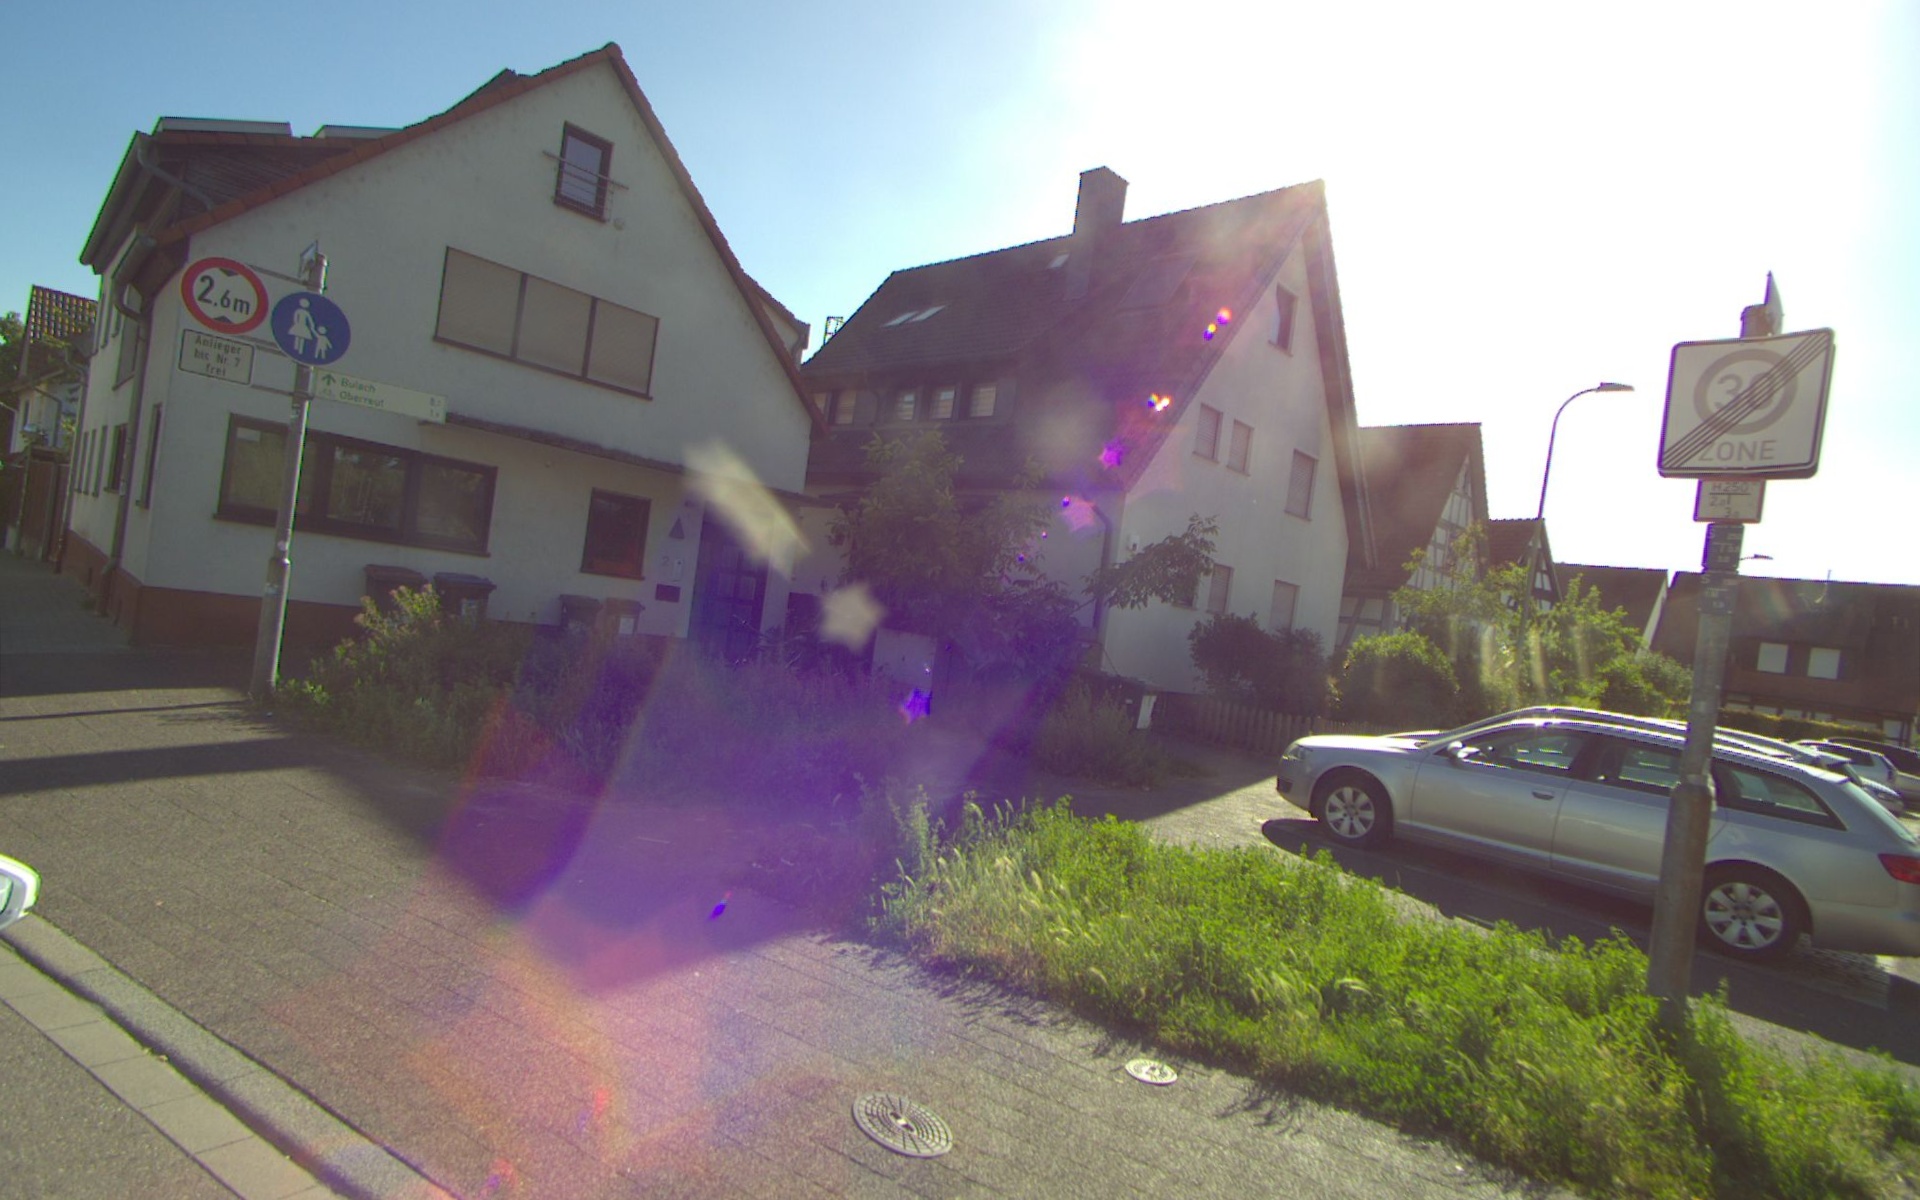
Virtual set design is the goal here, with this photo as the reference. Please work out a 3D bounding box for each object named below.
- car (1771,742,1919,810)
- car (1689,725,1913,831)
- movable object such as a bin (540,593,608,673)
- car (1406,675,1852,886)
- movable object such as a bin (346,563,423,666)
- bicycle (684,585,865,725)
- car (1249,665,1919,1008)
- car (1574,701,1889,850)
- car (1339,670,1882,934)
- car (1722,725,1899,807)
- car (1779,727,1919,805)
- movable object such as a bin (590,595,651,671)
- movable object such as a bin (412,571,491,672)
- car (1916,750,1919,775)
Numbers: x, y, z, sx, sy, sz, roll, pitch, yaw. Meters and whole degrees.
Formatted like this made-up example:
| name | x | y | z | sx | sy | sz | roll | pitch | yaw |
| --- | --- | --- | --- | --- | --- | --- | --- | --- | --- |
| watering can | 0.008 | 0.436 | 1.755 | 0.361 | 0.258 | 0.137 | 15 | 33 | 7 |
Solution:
| name | x | y | z | sx | sy | sz | roll | pitch | yaw |
| --- | --- | --- | --- | --- | --- | --- | --- | --- | --- |
| car | 26.102 | 5.126 | 29.402 | 3.567 | 1.209 | 1.340 | 10 | 0 | 42 |
| car | 18.515 | 3.848 | 22.269 | 3.569 | 1.438 | 1.452 | 10 | 2 | 43 |
| movable object such as a bin | -5.343 | 0.453 | 13.918 | 0.660 | 0.995 | 0.529 | 8 | 0 | 42 |
| car | 8.388 | 2.167 | 12.984 | 1.702 | 1.570 | 4.352 | 9 | 0 | -40 |
| movable object such as a bin | -6.968 | 0.173 | 12.174 | 0.738 | 1.136 | 0.480 | 8 | 0 | 42 |
| bicycle | -1.948 | 0.616 | 10.781 | 0.690 | 1.298 | 1.736 | 7 | -1 | 40 |
| car | 5.230 | 1.731 | 8.687 | 4.734 | 1.438 | 1.992 | 10 | 0 | 42 |
| car | 12.543 | 2.780 | 16.537 | 1.592 | 1.492 | 3.761 | 8 | 1 | -43 |
| car | 6.554 | 1.915 | 10.603 | 1.702 | 1.535 | 4.352 | 9 | 0 | -40 |
| car | 23.832 | 4.613 | 28.292 | 3.569 | 1.470 | 1.453 | 10 | 0 | 43 |
| car | 27.860 | 5.116 | 31.147 | 3.652 | 1.646 | 1.407 | 10 | 2 | 42 |
| movable object such as a bin | -4.878 | 0.475 | 14.459 | 0.585 | 0.988 | 0.497 | 8 | 0 | 42 |
| movable object such as a bin | -6.359 | 0.263 | 12.571 | 0.738 | 1.136 | 0.526 | 8 | 0 | 42 |
| car | 72.015 | 12.171 | 74.002 | 2.183 | 1.864 | 4.780 | 8 | -1 | 44 |
